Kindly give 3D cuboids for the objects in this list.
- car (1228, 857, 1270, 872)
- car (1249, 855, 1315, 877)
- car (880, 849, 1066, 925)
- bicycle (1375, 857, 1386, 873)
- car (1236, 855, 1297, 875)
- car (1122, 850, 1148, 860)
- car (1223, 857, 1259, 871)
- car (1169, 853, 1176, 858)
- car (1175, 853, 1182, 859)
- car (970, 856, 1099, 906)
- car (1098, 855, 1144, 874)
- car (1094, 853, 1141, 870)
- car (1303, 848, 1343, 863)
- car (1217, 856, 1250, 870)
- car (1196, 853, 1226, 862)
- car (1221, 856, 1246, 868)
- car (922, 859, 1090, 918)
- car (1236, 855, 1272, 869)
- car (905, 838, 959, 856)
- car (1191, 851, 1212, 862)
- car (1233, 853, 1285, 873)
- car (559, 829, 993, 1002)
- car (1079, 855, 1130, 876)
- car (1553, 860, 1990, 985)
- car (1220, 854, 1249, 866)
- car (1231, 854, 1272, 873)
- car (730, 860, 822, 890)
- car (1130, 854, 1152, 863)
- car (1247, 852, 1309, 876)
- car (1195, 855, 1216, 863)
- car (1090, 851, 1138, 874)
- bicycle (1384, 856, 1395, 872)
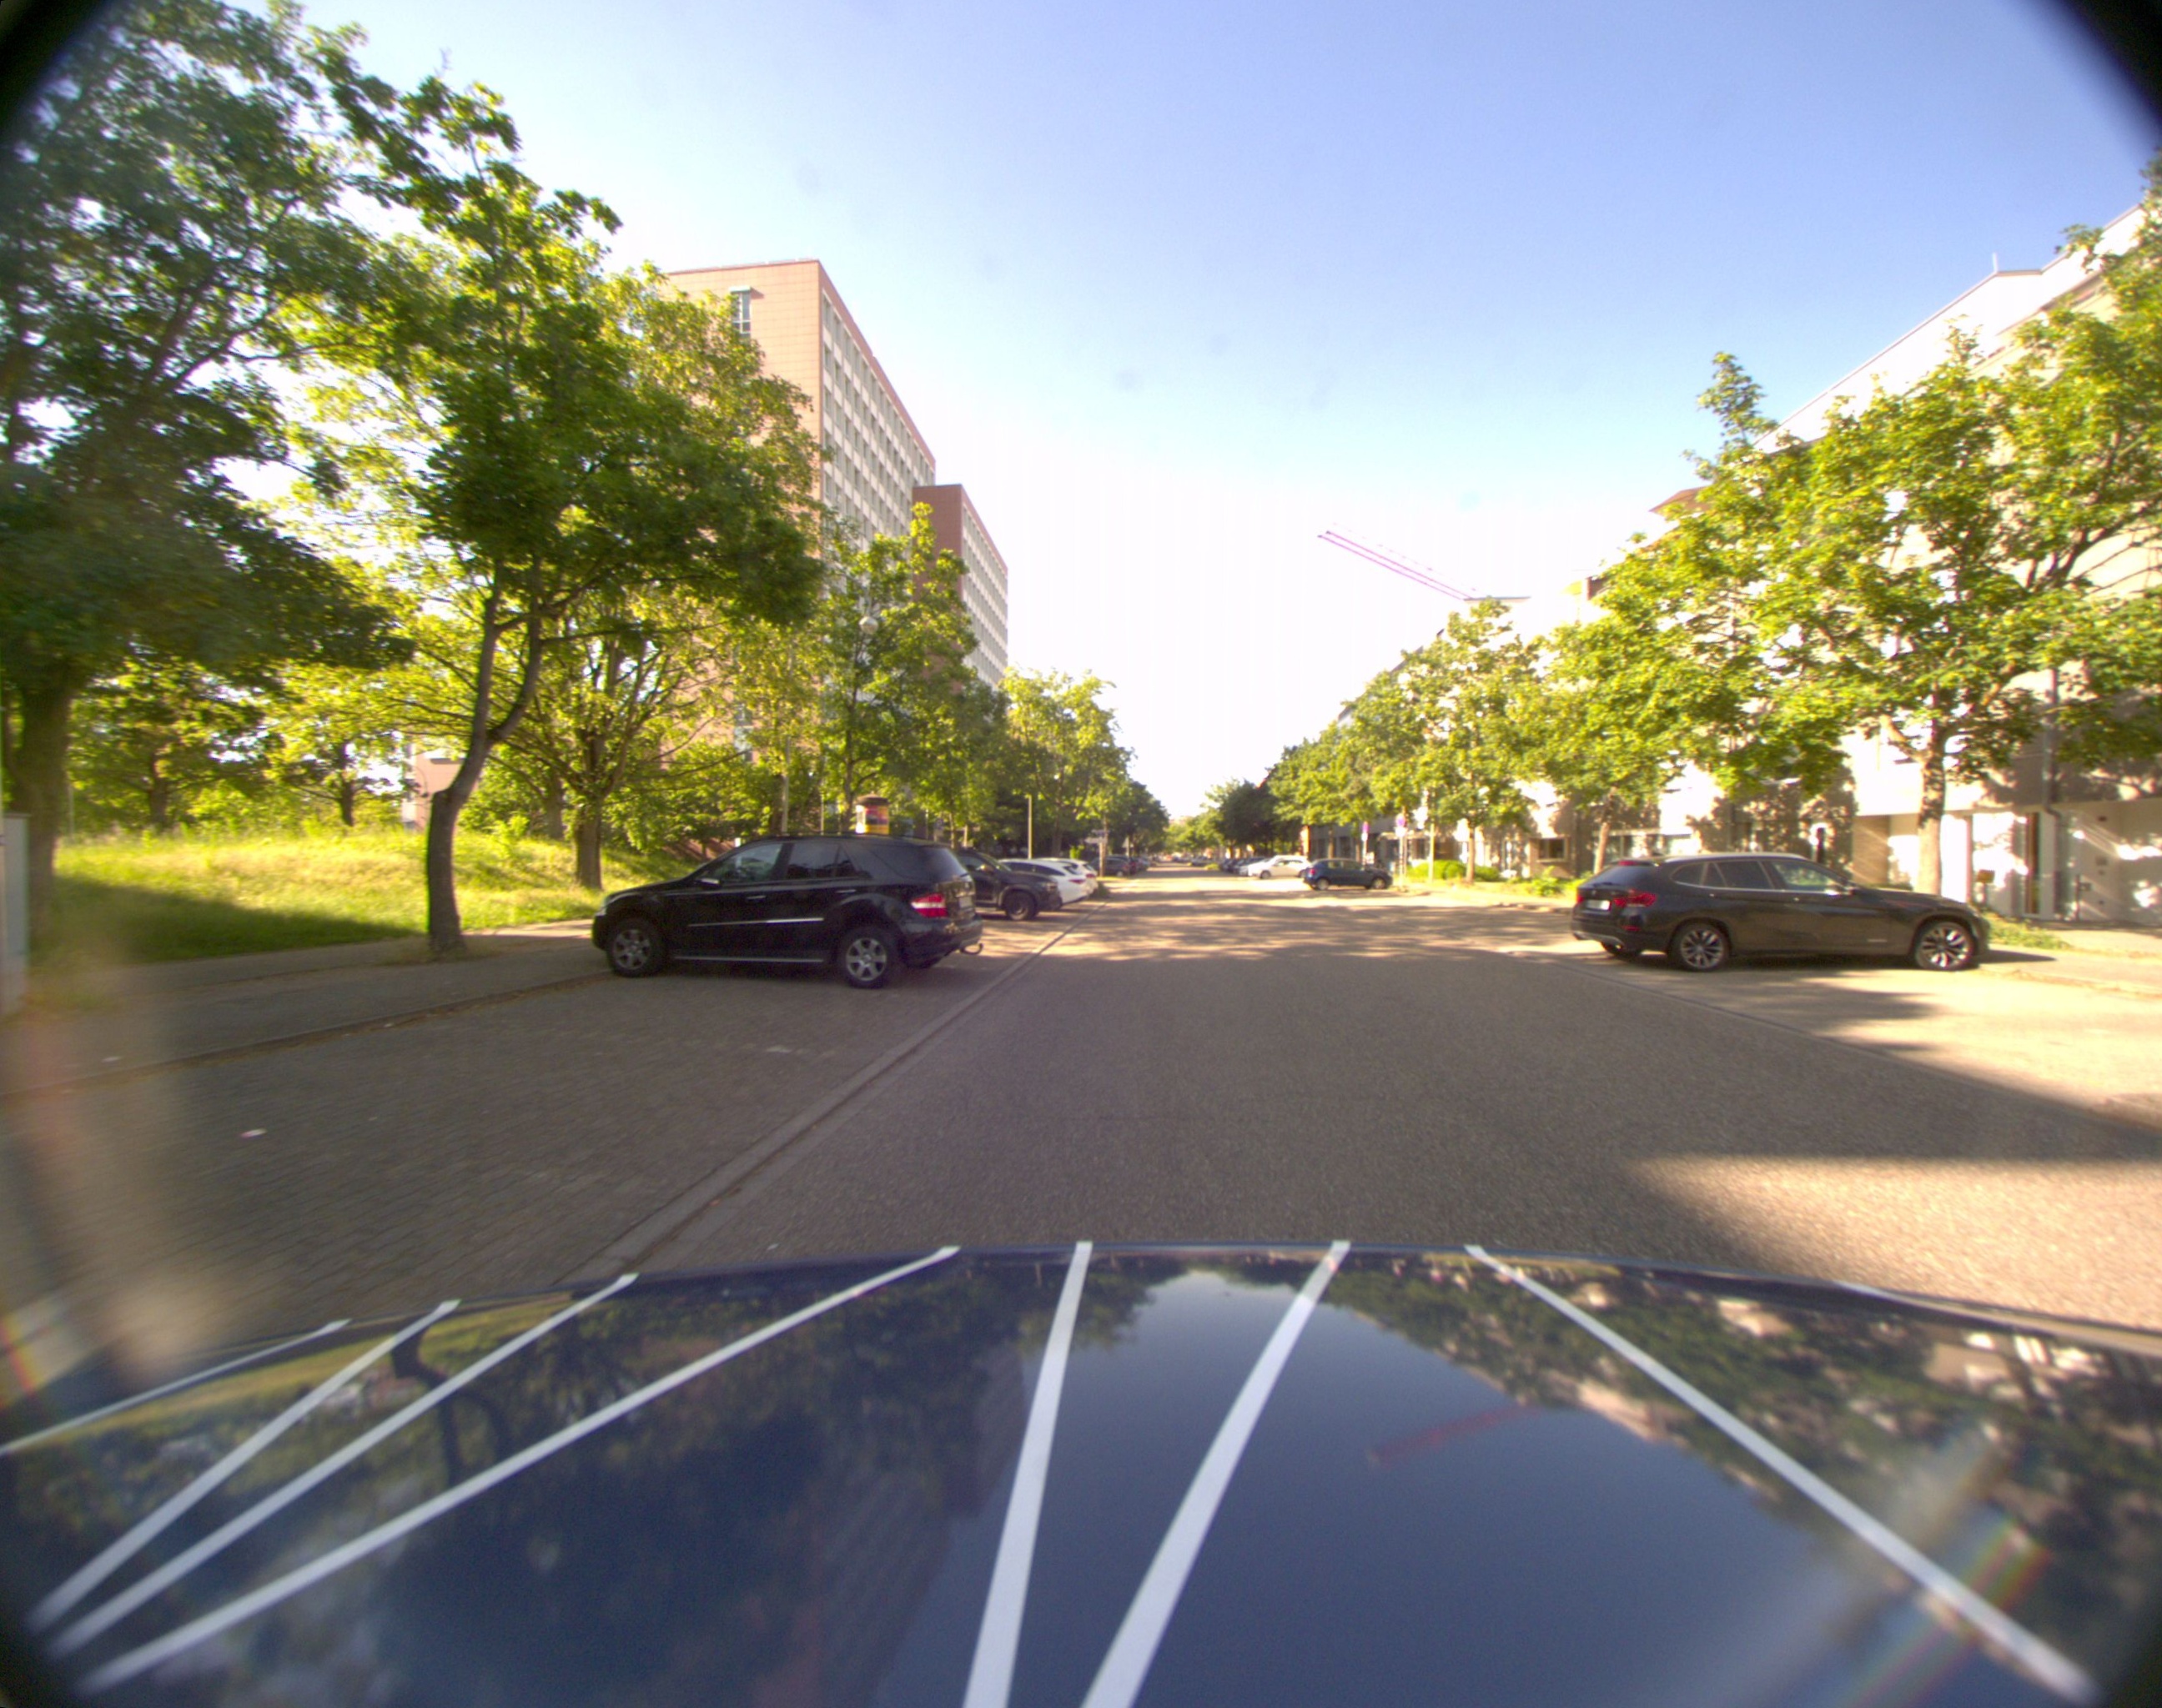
[{"bbox_3d":[16.867,1.029,76.348,3.830,1.405,1.688,-2,-1,5],"label":"car"},{"bbox_3d":[14.198,0.832,53.764,4.267,1.471,1.801,0,0,5],"label":"car"},{"bbox_3d":[-2.522,0.743,18.305,4.127,1.609,1.734,2,2,4],"label":"car"},{"bbox_3d":[22.484,0.819,57.123,0.338,1.168,1.628,-1,0,7],"label":"bicycle"},{"bbox_3d":[15.080,0.876,61.841,4.519,1.443,1.941,-2,0,2],"label":"car"},{"bbox_3d":[8.771,0.164,123.443,4.162,1.696,2.000,-1,0,4],"label":"car"},{"bbox_3d":[16.777,1.020,79.653,3.537,1.428,1.658,-1,0,5],"label":"car"},{"bbox_3d":[26.011,0.407,215.583,1.950,1.617,4.003,0,0,9],"label":"car"},{"bbox_3d":[26.858,0.557,208.611,1.765,1.365,4.003,1,0,9],"label":"car"},{"bbox_3d":[-1.626,0.956,27.640,4.436,1.583,1.837,2,1,4],"label":"car"},{"bbox_3d":[3.409,0.883,65.707,3.879,1.556,1.809,1,1,1],"label":"car"},{"bbox_3d":[3.583,0.724,73.582,4.429,1.544,1.860,0,0,5],"label":"car"},{"bbox_3d":[35.679,0.216,112.112,5.326,2.086,1.933,-1,1,4],"label":"car"},{"bbox_3d":[17.403,0.982,86.669,3.537,1.497,1.647,-1,1,5],"label":"car"},{"bbox_3d":[23.058,0.599,135.100,5.250,1.616,1.954,-1,0,8],"label":"car"},{"bbox_3d":[18.297,0.956,91.214,2.931,1.435,1.390,0,1,6],"label":"car"},{"bbox_3d":[-2.023,0.950,21.418,4.452,1.536,1.818,-1,0,4],"label":"car"},{"bbox_3d":[18.688,0.887,82.081,3.538,1.437,1.658,-1,0,3],"label":"car"},{"bbox_3d":[-14.069,-0.683,71.988,4.727,1.676,1.876,0,0,2],"label":"car"},{"bbox_3d":[24.461,0.483,154.724,3.995,2.094,2.001,-1,1,4],"label":"car"},{"bbox_3d":[15.136,0.796,64.818,4.120,1.611,1.804,-1,0,8],"label":"car"},{"bbox_3d":[-3.612,0.657,9.509,4.596,1.769,2.001,2,1,6],"label":"car"},{"bbox_3d":[1.823,0.888,59.038,3.843,1.438,1.593,3,-1,3],"label":"car"},{"bbox_3d":[9.138,0.872,10.402,4.201,1.511,1.773,-1,0,6],"label":"car"},{"bbox_3d":[20.445,0.808,101.099,3.628,1.499,1.618,-1,1,5],"label":"car"},{"bbox_3d":[15.552,0.844,69.391,3.579,1.658,1.656,-1,0,9],"label":"car"},{"bbox_3d":[-15.769,1.069,39.375,3.995,1.521,1.835,0,0,5],"label":"car"},{"bbox_3d":[11.214,0.832,141.531,3.996,1.773,1.953,-1,1,2],"label":"car"},{"bbox_3d":[14.699,0.762,56.858,4.233,1.593,1.953,-2,1,7],"label":"car"},{"bbox_3d":[24.117,0.981,147.293,3.966,1.463,1.954,-1,0,8],"label":"car"},{"bbox_3d":[2.702,0.671,61.304,3.679,1.741,1.725,1,1,8],"label":"car"},{"bbox_3d":[23.253,0.766,57.339,0.338,1.168,1.628,-1,0,7],"label":"bicycle"}]
